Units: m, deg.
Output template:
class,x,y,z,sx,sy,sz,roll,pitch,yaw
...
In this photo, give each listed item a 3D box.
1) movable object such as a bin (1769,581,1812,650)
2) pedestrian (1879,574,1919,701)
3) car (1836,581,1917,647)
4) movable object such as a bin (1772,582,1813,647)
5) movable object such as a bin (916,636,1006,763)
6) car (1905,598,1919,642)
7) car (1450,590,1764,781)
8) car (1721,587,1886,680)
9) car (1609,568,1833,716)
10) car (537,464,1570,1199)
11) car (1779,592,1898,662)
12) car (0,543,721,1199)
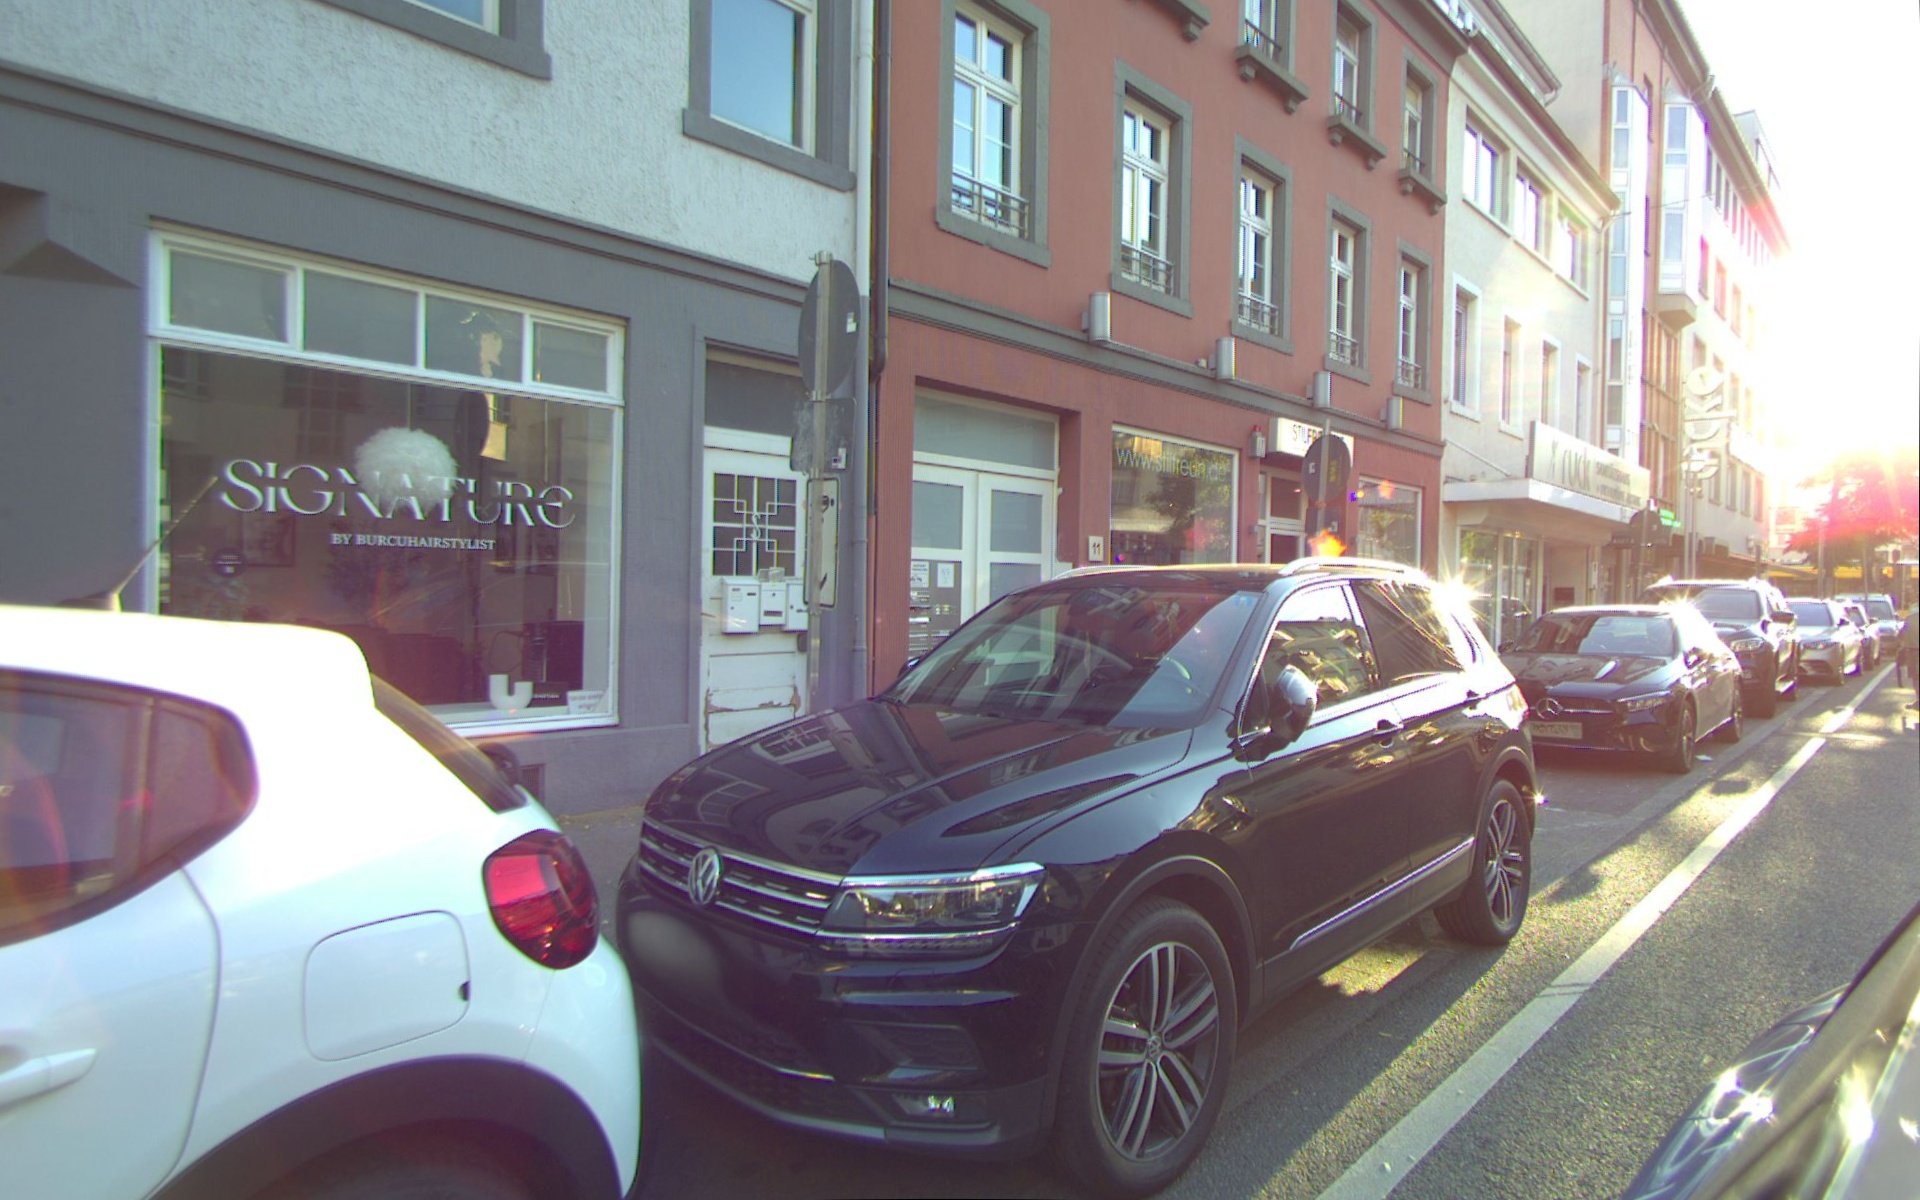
class,x,y,z,sx,sy,sz,roll,pitch,yaw
movable object such as a bin,22.463,0.402,27.357,0.834,1.796,1.333,0,0,42
pedestrian,13.368,0.507,13.809,0.896,1.697,0.986,2,1,22
car,26.884,0.400,29.719,1.653,1.801,3.950,0,-1,42
movable object such as a bin,23.307,0.386,28.322,0.834,1.796,1.188,0,0,42
movable object such as a bin,0.007,0.786,8.221,0.553,0.950,0.477,1,1,44
car,32.391,0.641,33.243,1.937,1.394,4.116,0,0,44
car,6.666,0.666,10.220,4.236,1.502,1.763,-1,1,-44
car,16.172,0.541,19.312,4.909,1.546,1.814,-1,1,-43
car,11.085,0.473,14.587,4.976,1.776,1.884,-1,1,-45
car,0.769,0.563,3.983,4.136,1.689,1.813,-1,1,-44
car,20.178,0.571,23.176,4.436,1.438,1.753,0,0,-45
car,-2.344,0.639,1.131,3.740,1.395,1.668,-1,1,-44
